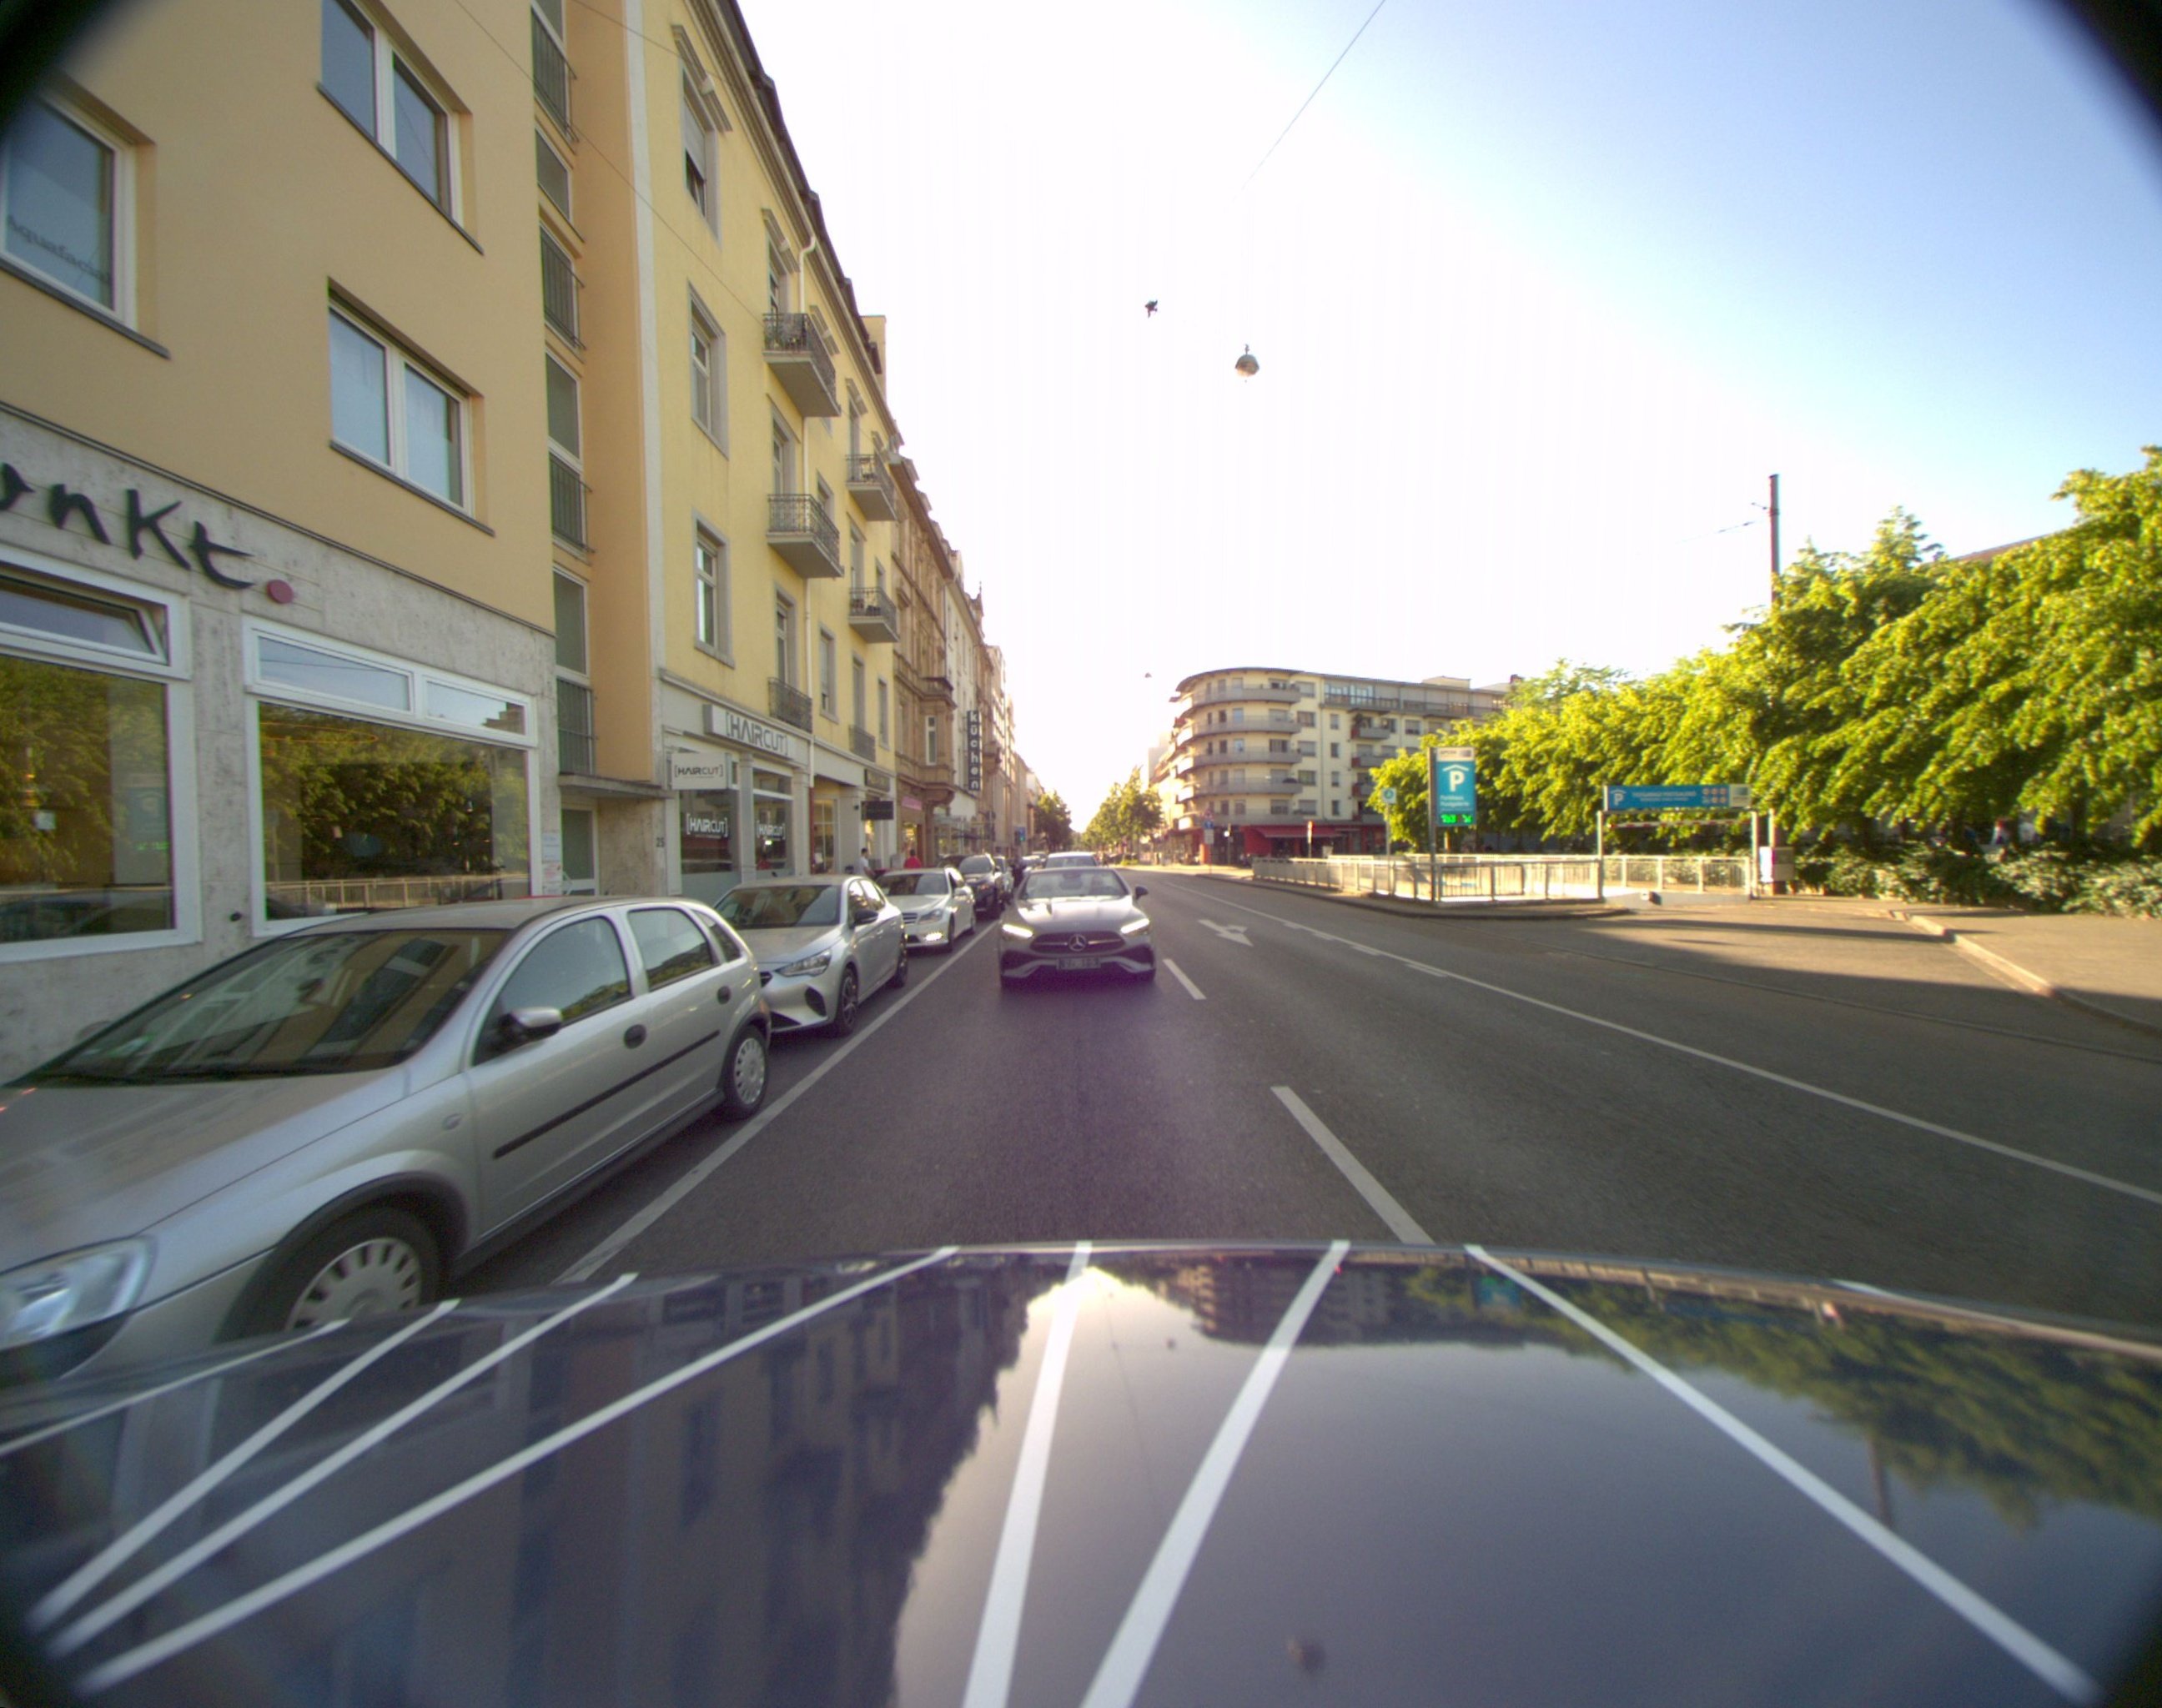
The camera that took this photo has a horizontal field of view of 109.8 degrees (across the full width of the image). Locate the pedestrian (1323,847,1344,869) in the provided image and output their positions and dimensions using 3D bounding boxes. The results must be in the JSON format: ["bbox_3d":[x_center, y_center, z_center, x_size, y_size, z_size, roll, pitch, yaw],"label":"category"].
[{"bbox_3d":[22.760,0.366,68.616,1.234,2.002,1.259,-2,0,-22],"label":"pedestrian"}]

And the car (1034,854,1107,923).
[{"bbox_3d":[-0.234,0.827,20.233,1.716,1.599,4.000,-2,0,0],"label":"car"}]

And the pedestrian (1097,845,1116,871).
[{"bbox_3d":[2.068,0.321,62.118,1.200,2.002,1.019,-2,1,-16],"label":"pedestrian"}]

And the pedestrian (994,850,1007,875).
[{"bbox_3d":[-5.360,0.572,50.553,0.795,1.607,0.763,-2,1,-2],"label":"pedestrian"}]

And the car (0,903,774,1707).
[{"bbox_3d":[-2.874,1.049,3.110,1.617,1.374,3.642,-3,0,1],"label":"car"}]

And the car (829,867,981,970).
[{"bbox_3d":[-3.026,1.040,14.054,1.759,1.453,4.598,-2,0,-1],"label":"car"}]

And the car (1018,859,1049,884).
[{"bbox_3d":[-3.074,1.135,49.821,1.715,1.477,3.999,-2,0,-1],"label":"car"}]

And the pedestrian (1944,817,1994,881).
[{"bbox_3d":[23.699,-0.129,20.285,0.848,1.661,0.677,-2,1,-27],"label":"pedestrian"}]

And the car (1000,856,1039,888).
[{"bbox_3d":[-3.152,0.900,39.545,1.715,1.477,3.999,-2,0,-1],"label":"car"}]

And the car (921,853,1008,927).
[{"bbox_3d":[-2.977,0.854,20.275,1.858,1.688,4.697,-2,0,-4],"label":"car"}]

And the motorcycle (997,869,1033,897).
[{"bbox_3d":[-3.087,1.359,35.608,0.769,1.225,1.546,-1,1,42],"label":"motorcycle"}]

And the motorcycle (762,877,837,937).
[{"bbox_3d":[-6.138,1.118,16.706,0.774,1.158,2.247,1,0,0],"label":"motorcycle"}]

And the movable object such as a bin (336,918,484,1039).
[{"bbox_3d":[-6.276,1.149,7.138,0.812,1.022,0.602,-1,1,0],"label":"movable object such as a bin"}]

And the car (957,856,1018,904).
[{"bbox_3d":[-3.266,0.884,26.998,1.696,1.559,3.018,-2,0,1],"label":"car"}]

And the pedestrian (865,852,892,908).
[{"bbox_3d":[-5.981,0.759,22.433,0.572,1.607,0.643,-2,1,1],"label":"pedestrian"}]

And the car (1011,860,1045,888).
[{"bbox_3d":[-3.123,1.166,45.303,1.715,1.477,3.999,-2,0,-1],"label":"car"}]

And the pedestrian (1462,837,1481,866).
[{"bbox_3d":[25.188,-0.150,48.989,0.755,1.794,0.756,-2,1,-16],"label":"pedestrian"}]

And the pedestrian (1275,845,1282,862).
[{"bbox_3d":[17.752,-0.066,68.399,0.581,1.481,0.793,-1,1,13],"label":"pedestrian"}]

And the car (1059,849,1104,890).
[{"bbox_3d":[0.055,0.693,35.886,1.952,1.742,4.000,-2,0,0],"label":"car"}]

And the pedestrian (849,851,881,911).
[{"bbox_3d":[-5.941,0.739,20.915,0.642,1.607,0.701,-2,1,-1],"label":"pedestrian"}]

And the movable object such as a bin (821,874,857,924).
[{"bbox_3d":[-6.023,1.108,18.946,0.647,1.200,0.644,-2,0,1],"label":"movable object such as a bin"}]

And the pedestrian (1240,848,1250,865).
[{"bbox_3d":[14.919,0.234,69.130,0.791,1.452,0.583,-2,1,10],"label":"pedestrian"}]

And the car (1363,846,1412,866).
[{"bbox_3d":[28.837,0.146,71.409,4.004,1.739,1.996,-2,0,-23],"label":"car"}]

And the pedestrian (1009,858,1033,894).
[{"bbox_3d":[-2.799,1.013,35.377,0.832,1.657,0.695,-1,1,30],"label":"pedestrian"}]

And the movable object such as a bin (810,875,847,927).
[{"bbox_3d":[-6.070,1.113,18.294,0.647,1.200,0.644,-2,0,1],"label":"movable object such as a bin"}]

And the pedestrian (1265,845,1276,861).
[{"bbox_3d":[17.482,-0.134,70.052,0.583,1.453,0.790,-2,1,-37],"label":"pedestrian"}]

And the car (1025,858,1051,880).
[{"bbox_3d":[-3.145,1.091,56.416,1.715,1.477,4.062,-2,0,-1],"label":"car"}]

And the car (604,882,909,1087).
[{"bbox_3d":[-2.913,1.069,7.710,1.654,1.390,3.704,-2,0,-4],"label":"car"}]

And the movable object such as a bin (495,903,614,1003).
[{"bbox_3d":[-6.216,1.147,9.030,0.752,1.047,0.893,-1,1,1],"label":"movable object such as a bin"}]

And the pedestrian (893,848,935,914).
[{"bbox_3d":[-4.726,0.748,21.606,0.866,1.774,1.009,3,1,2],"label":"pedestrian"}]

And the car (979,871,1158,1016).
[{"bbox_3d":[-0.162,0.998,10.190,1.849,1.371,4.255,-2,0,-1],"label":"car"}]
